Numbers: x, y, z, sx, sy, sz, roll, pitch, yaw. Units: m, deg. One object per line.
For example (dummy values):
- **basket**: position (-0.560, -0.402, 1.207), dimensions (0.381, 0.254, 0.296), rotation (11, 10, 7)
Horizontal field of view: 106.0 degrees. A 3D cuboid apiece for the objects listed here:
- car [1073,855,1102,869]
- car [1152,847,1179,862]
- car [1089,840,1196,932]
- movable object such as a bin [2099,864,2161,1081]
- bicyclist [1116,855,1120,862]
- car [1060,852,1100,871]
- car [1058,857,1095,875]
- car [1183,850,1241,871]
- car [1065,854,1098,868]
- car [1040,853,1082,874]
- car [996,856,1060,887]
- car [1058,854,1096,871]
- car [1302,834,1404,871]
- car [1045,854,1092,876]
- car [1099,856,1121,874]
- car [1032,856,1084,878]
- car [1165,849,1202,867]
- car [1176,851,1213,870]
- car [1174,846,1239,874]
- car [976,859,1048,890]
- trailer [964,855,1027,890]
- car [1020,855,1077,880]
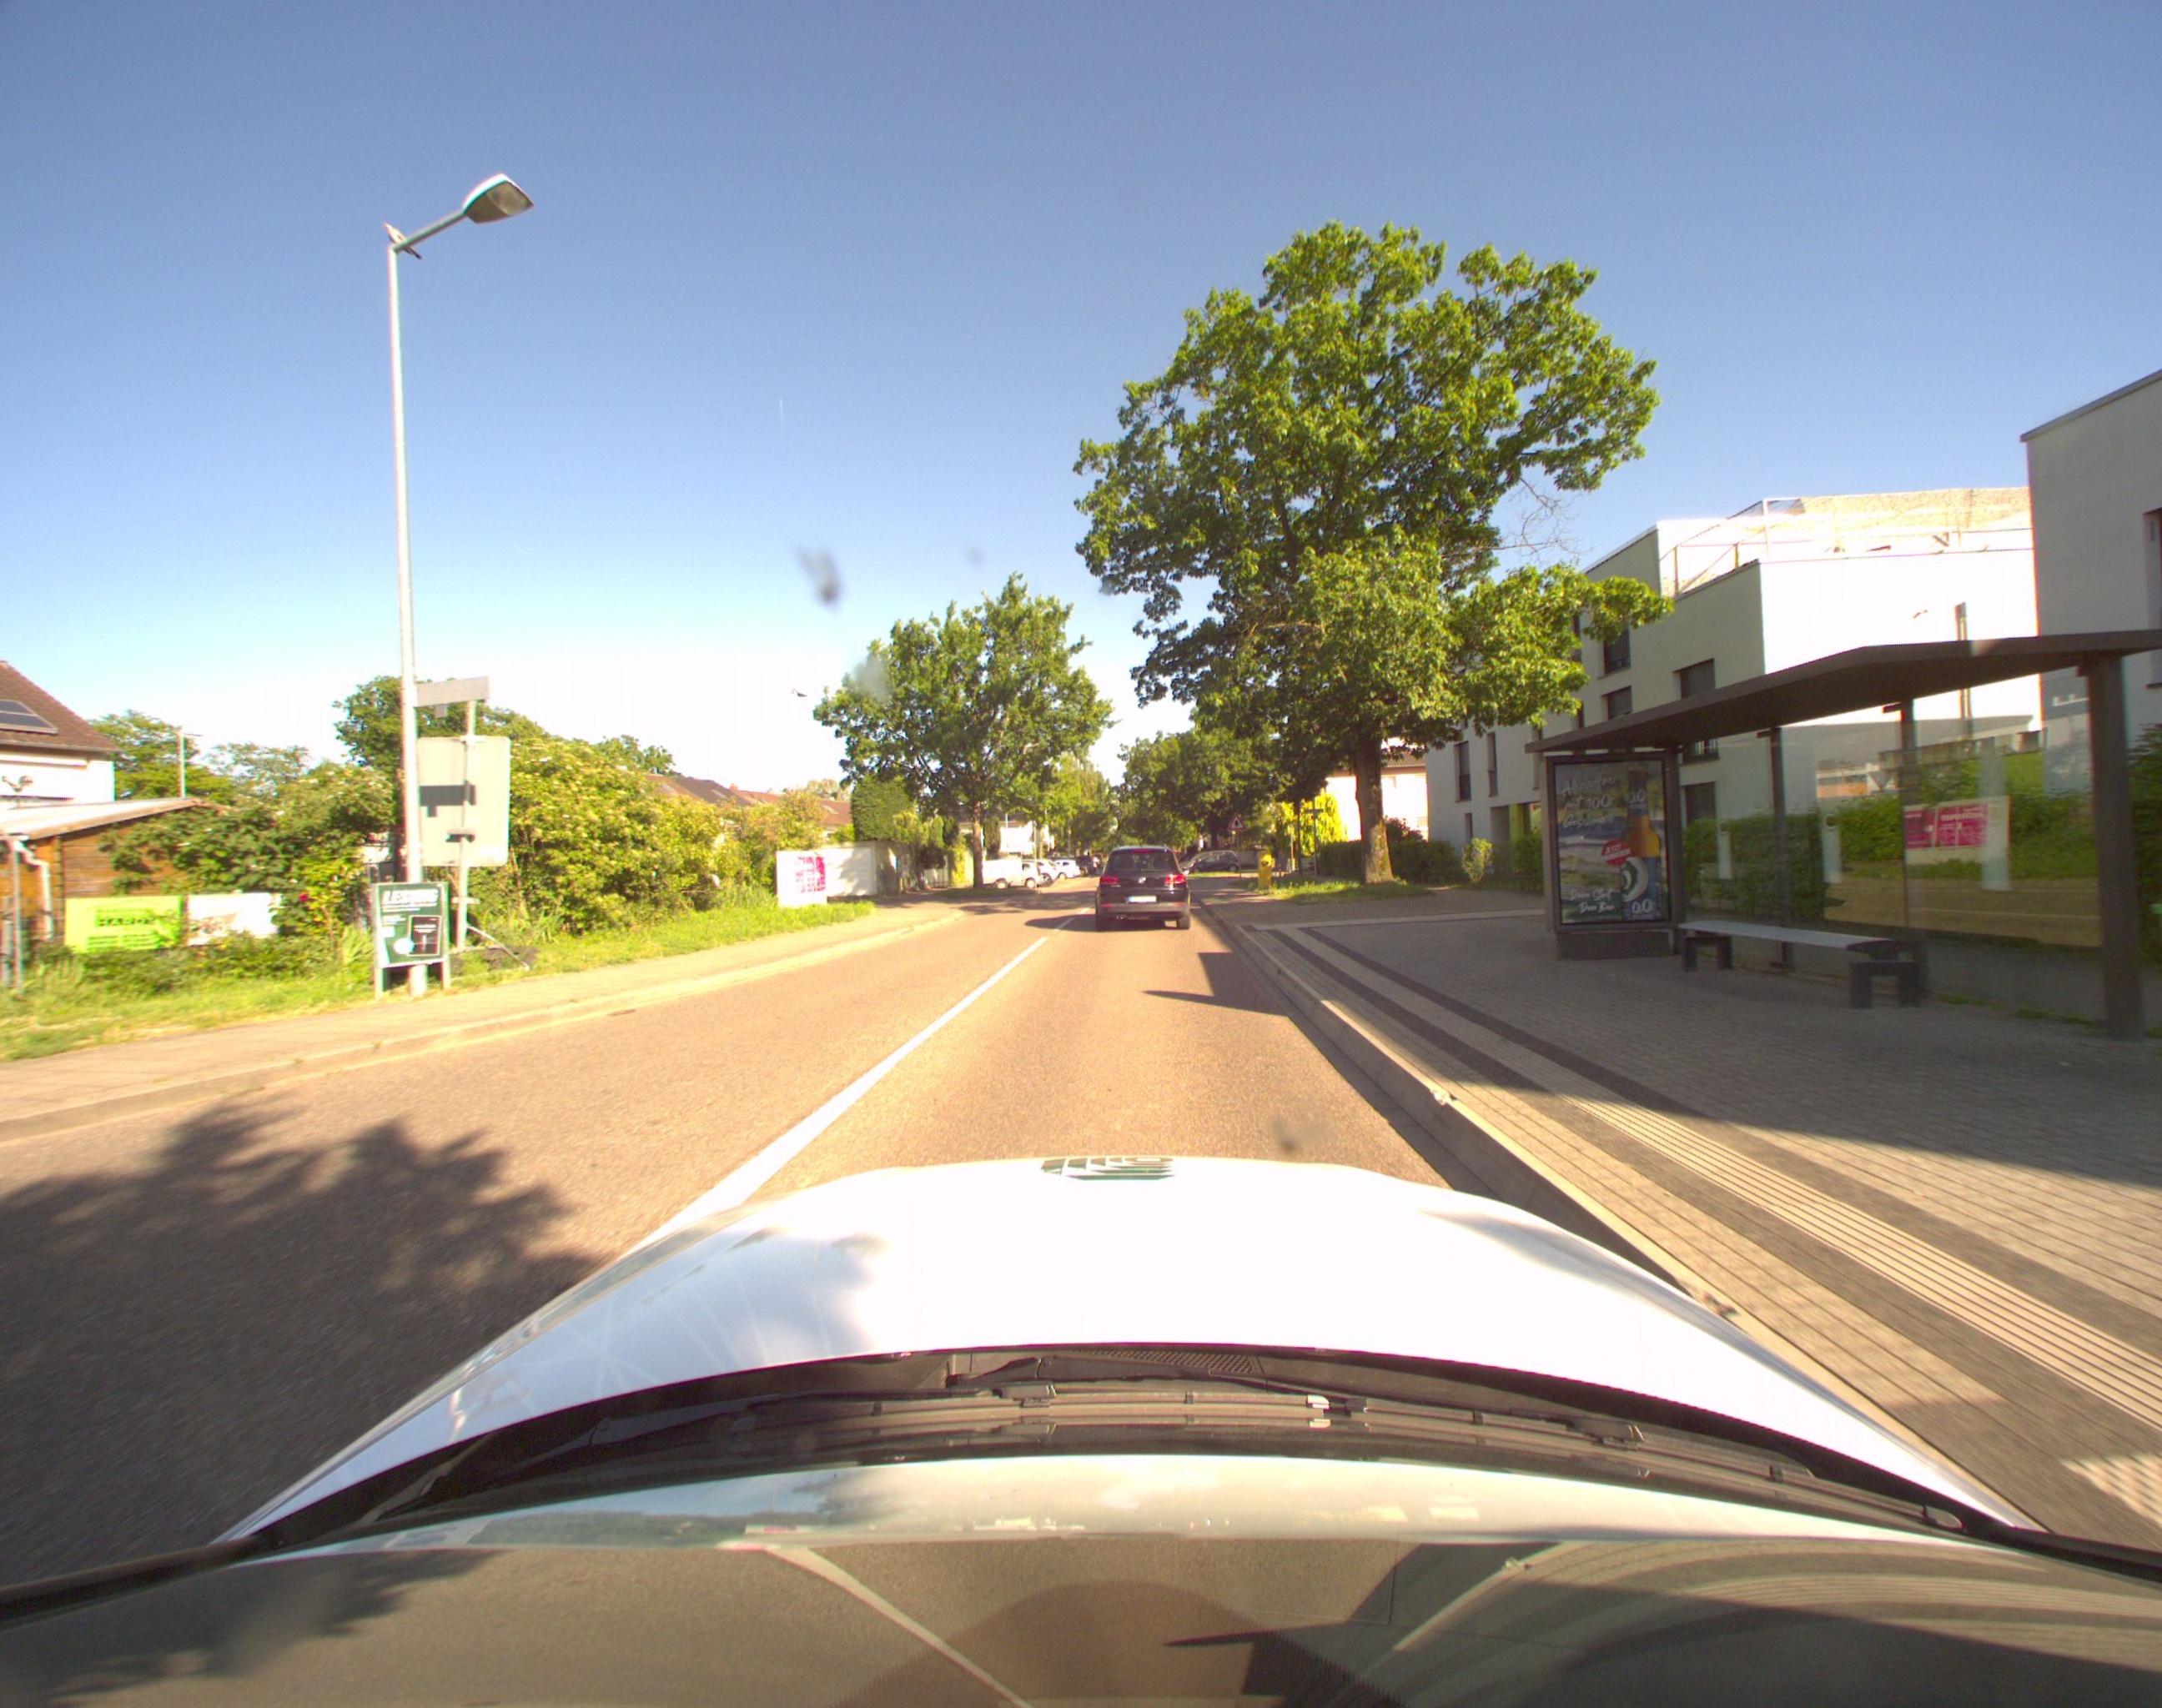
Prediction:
- **car**: position (0.907, 1.133, 114.028), dimensions (3.979, 1.684, 1.920), rotation (-3, 0, -4)
- **car**: position (12.560, 0.144, 121.139), dimensions (3.969, 2.014, 2.002), rotation (-3, -2, 4)
- **car**: position (1.148, 0.587, 17.204), dimensions (1.923, 1.654, 4.513), rotation (-1, 0, 0)
- **movable object such as a bin**: position (5.303, 0.563, 3.775), dimensions (0.368, 1.016, 0.599), rotation (-2, 0, -6)
- **bicyclist**: position (6.577, 0.787, 146.016), dimensions (0.698, 1.346, 0.506), rotation (-2, -3, -1)
- **car**: position (-0.139, 0.892, 91.042), dimensions (4.377, 1.939, 1.578), rotation (-2, -2, -1)
- **car**: position (-0.452, 1.142, 76.040), dimensions (3.360, 1.490, 1.643), rotation (-2, -1, 0)
- **car**: position (9.409, 0.475, 58.731), dimensions (3.970, 1.368, 1.848), rotation (-2, 0, 3)
- **car**: position (0.125, 0.921, 102.738), dimensions (3.969, 1.499, 2.002), rotation (-3, -2, 4)
- **car**: position (-1.948, 0.926, 79.007), dimensions (3.974, 1.836, 1.637), rotation (-3, -1, -1)
- **car**: position (-3.007, 0.980, 46.615), dimensions (3.540, 1.613, 1.851), rotation (-2, 0, -2)
- **car**: position (-0.457, 0.956, 88.581), dimensions (3.970, 1.720, 1.822), rotation (-2, -2, 3)
- **car**: position (15.717, -0.073, 47.253), dimensions (5.221, 1.847, 2.072), rotation (-3, -2, 1)
- **car**: position (-1.041, 0.968, 71.472), dimensions (3.974, 1.731, 2.000), rotation (-3, 0, 0)
- **car**: position (2.883, 1.069, 79.943), dimensions (1.902, 1.555, 4.003), rotation (-4, 0, 3)
- **car**: position (-1.869, 1.080, 66.748), dimensions (3.968, 1.640, 2.003), rotation (-2, 0, 5)
- **car**: position (11.275, 0.398, 89.646), dimensions (3.969, 1.775, 1.792), rotation (-2, 0, 4)
- **car**: position (10.162, 0.571, 73.077), dimensions (3.036, 1.507, 1.245), rotation (-3, -1, -2)
- **car**: position (9.419, 0.444, 61.236), dimensions (4.613, 1.809, 1.825), rotation (-3, -1, 3)
- **car**: position (-3.691, 1.075, 43.970), dimensions (3.533, 1.477, 1.810), rotation (-3, 0, 3)
- **trailer**: position (-4.353, 0.939, 41.643), dimensions (2.957, 1.656, 1.396), rotation (-3, -1, 0)
- **car**: position (-2.406, 1.015, 61.425), dimensions (3.968, 1.670, 2.003), rotation (-2, 0, 5)
